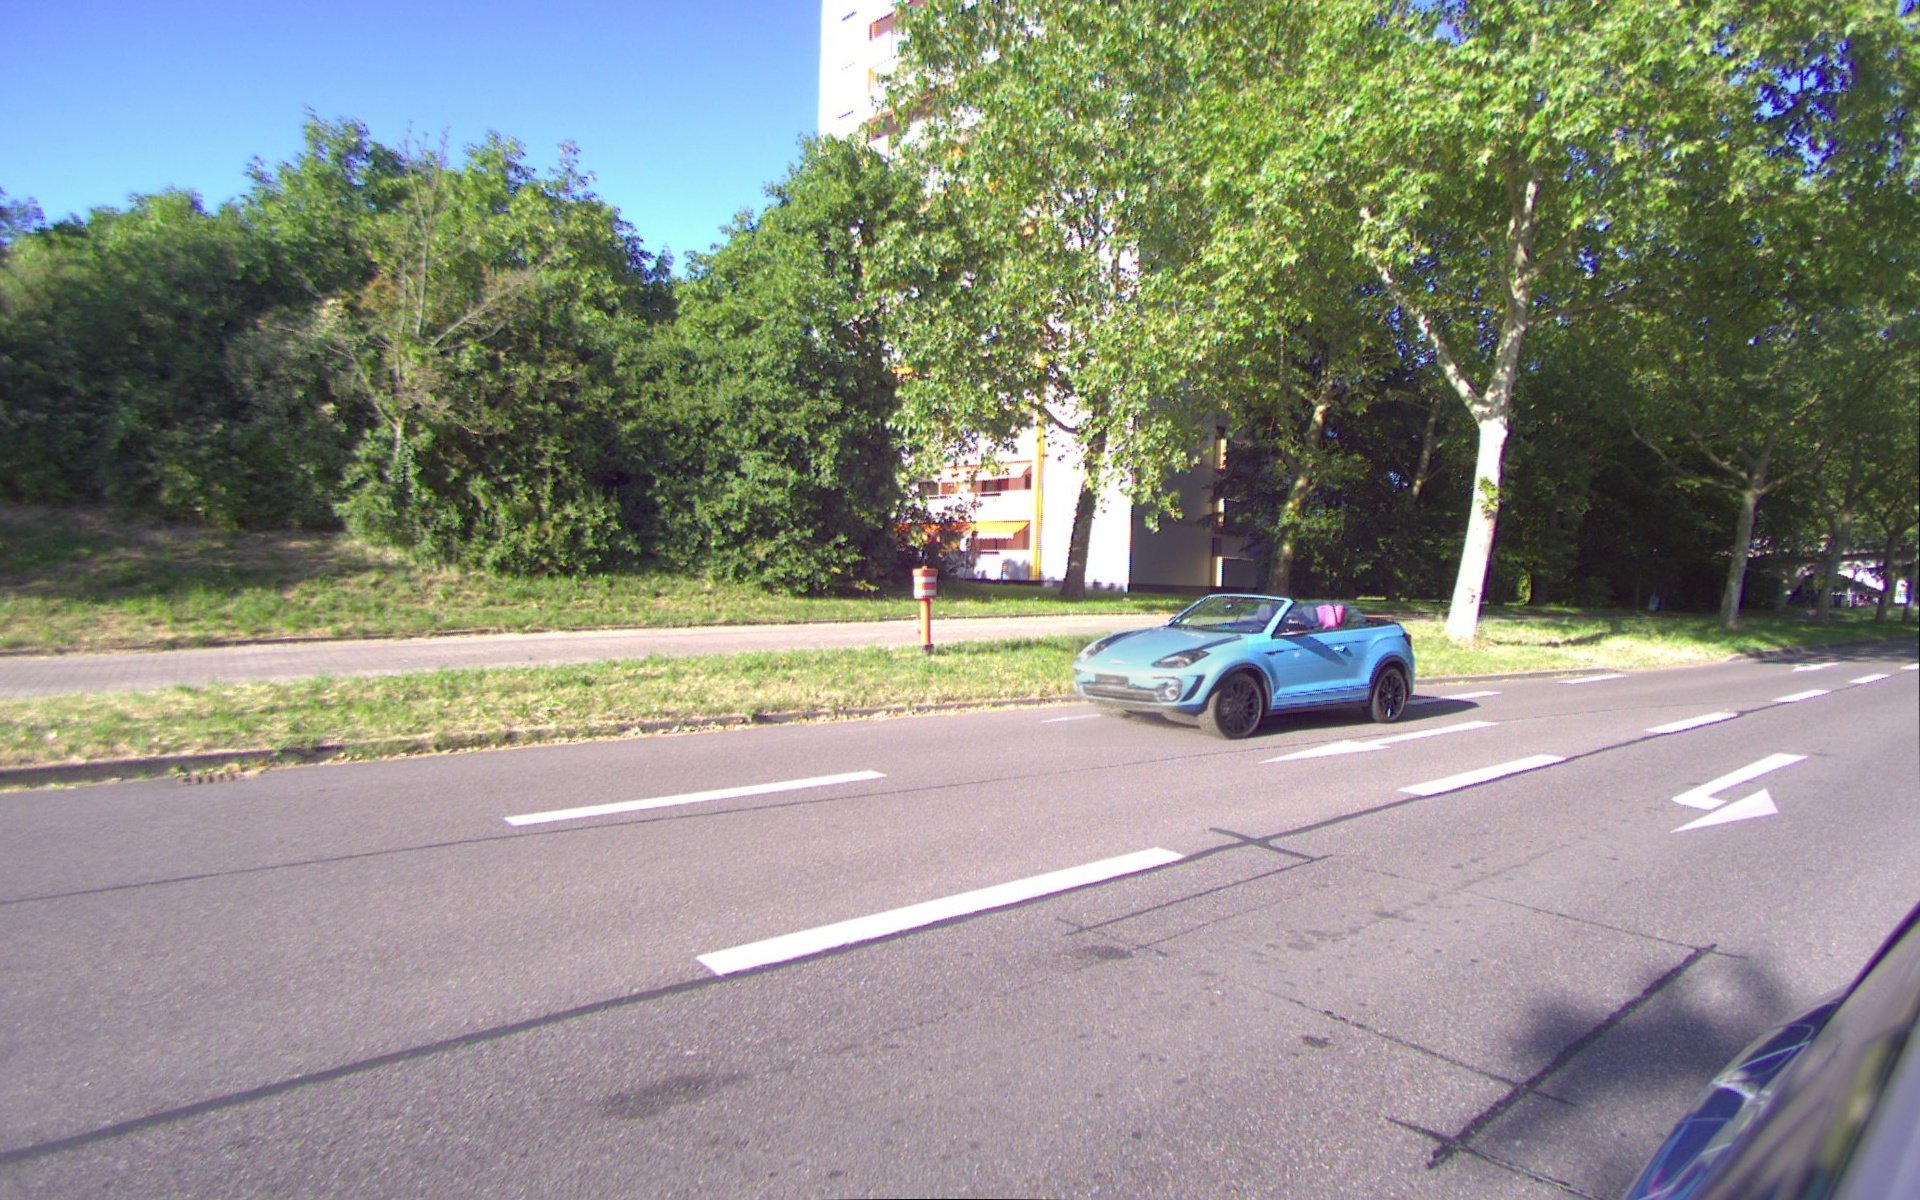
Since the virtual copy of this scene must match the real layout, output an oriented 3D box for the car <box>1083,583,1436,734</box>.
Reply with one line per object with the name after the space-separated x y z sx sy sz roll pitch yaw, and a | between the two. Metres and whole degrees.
3.552 0.551 11.764 4.052 1.468 1.740 0 1 -34 | car
